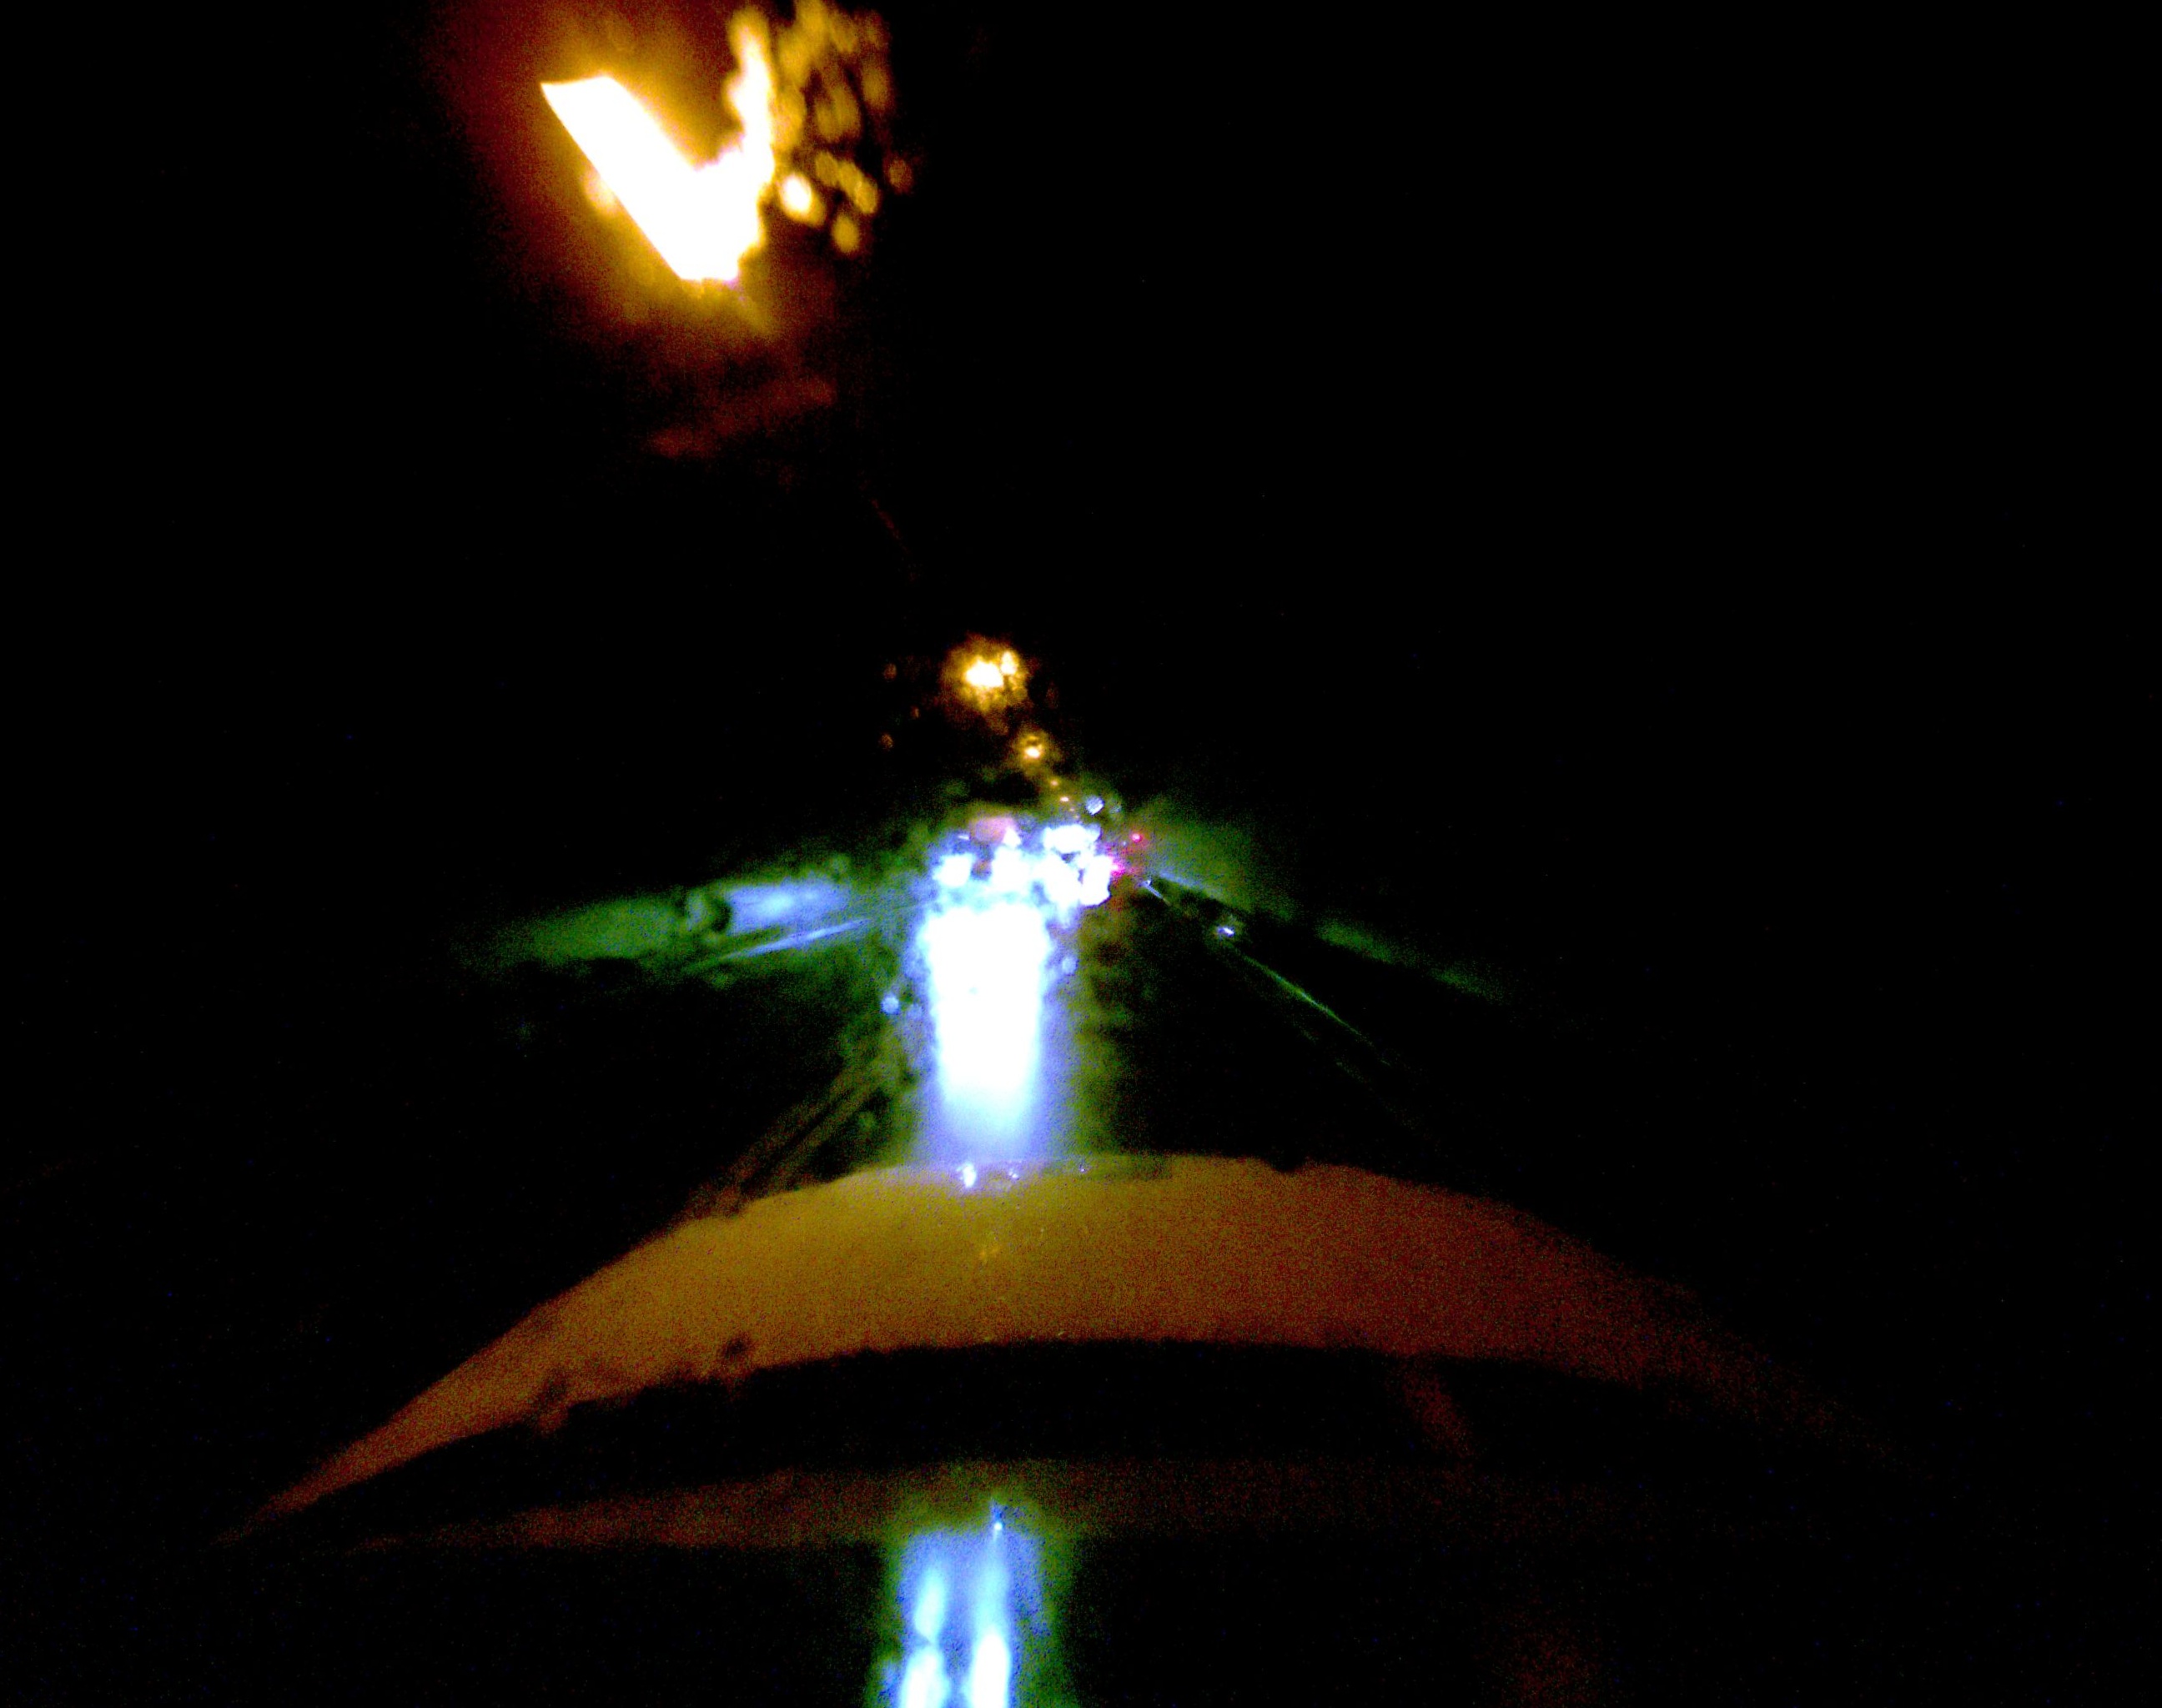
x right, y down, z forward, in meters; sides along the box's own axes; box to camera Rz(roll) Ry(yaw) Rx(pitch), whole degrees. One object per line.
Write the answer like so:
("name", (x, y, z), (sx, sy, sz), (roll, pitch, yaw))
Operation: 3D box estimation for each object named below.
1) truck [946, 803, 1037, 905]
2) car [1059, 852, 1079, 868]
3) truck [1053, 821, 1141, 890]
("truck", (-2.857, -0.003, 27.676), (2.272, 3.016, 6.593), (-1, 0, 0))
("car", (-1.119, 0.581, 78.511), (1.788, 1.482, 3.868), (-1, 0, 0))
("truck", (0.789, 0.058, 37.514), (3.522, 2.693, 8.959), (-2, 0, 2))
